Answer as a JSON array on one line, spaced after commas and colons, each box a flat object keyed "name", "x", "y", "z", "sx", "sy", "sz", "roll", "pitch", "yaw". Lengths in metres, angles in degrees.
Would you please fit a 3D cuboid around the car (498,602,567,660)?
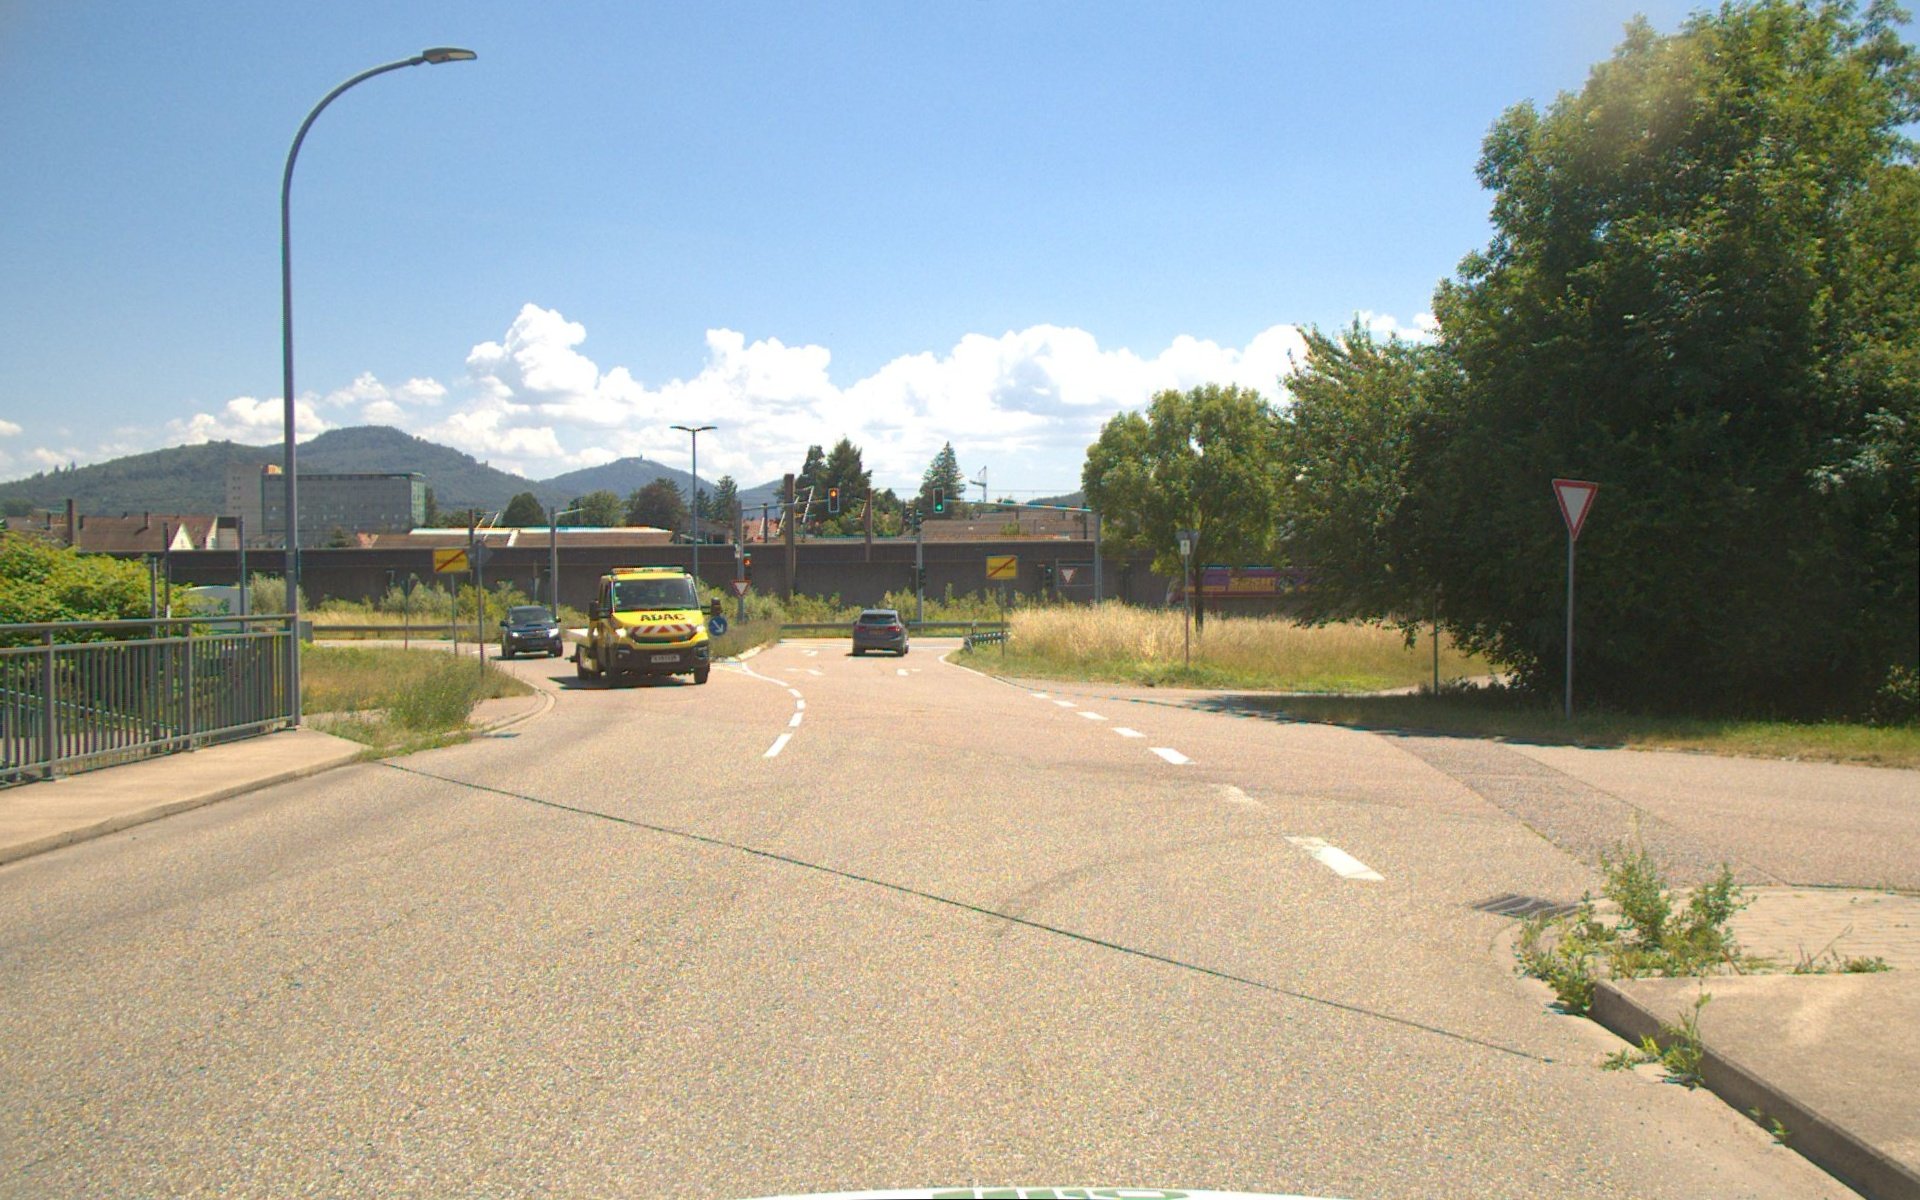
[{"name": "car", "x": -14.114, "y": 0.968, "z": 54.503, "sx": 1.874, "sy": 1.732, "sz": 3.978, "roll": -1, "pitch": 1, "yaw": -19}]

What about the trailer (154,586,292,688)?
[{"name": "trailer", "x": -15.765, "y": 0.754, "z": 35.300, "sx": 1.837, "sy": 2.049, "sz": 3.906, "roll": 1, "pitch": -1, "yaw": -38}]

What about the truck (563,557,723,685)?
[{"name": "truck", "x": -7.119, "y": 0.476, "z": 36.198, "sx": 2.275, "sy": 2.378, "sz": 9.003, "roll": -2, "pitch": -1, "yaw": -18}]

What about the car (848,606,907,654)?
[{"name": "car", "x": -2.851, "y": 1.022, "z": 57.986, "sx": 1.953, "sy": 1.529, "sz": 3.999, "roll": 1, "pitch": 0, "yaw": -2}]

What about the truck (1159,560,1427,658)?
[{"name": "truck", "x": 14.947, "y": 0.410, "z": 74.852, "sx": 11.526, "sy": 4.254, "sz": 3.006, "roll": 0, "pitch": -1, "yaw": 1}]
